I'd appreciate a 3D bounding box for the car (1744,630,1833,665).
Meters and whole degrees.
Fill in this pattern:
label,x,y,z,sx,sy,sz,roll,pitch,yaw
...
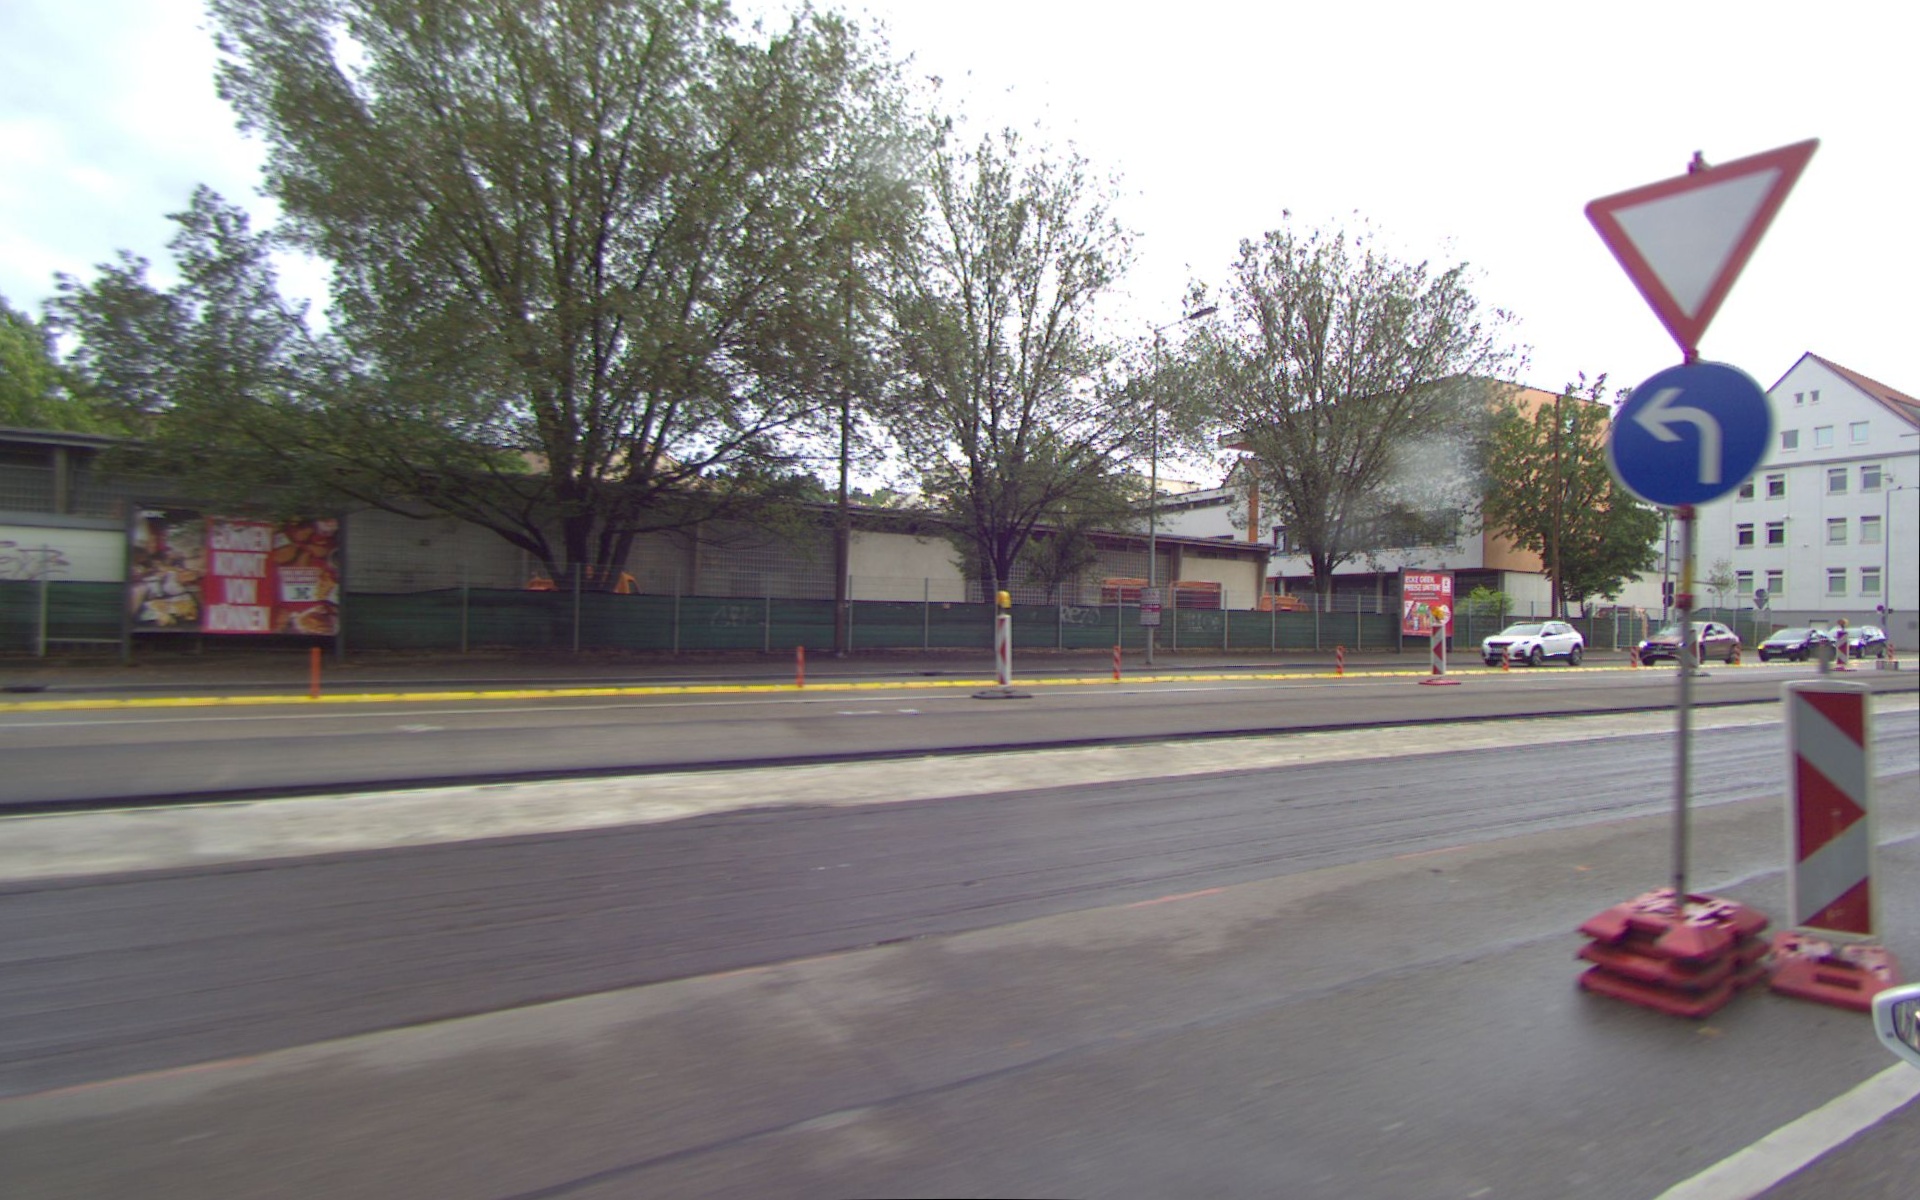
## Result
label,x,y,z,sx,sy,sz,roll,pitch,yaw
car,36.522,2.101,44.260,3.689,1.495,1.850,2,-3,-31

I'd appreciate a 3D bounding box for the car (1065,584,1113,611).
label,x,y,z,sx,sy,sz,roll,pitch,yaw
car,5.640,-0.091,43.551,1.718,1.076,4.026,1,-1,12

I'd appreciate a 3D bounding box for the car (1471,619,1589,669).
label,x,y,z,sx,sy,sz,roll,pitch,yaw
car,20.921,1.623,36.843,4.314,1.728,1.850,2,-3,-31

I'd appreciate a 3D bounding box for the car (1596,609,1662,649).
label,x,y,z,sx,sy,sz,roll,pitch,yaw
car,37.448,1.626,56.178,3.955,2.199,1.601,1,-1,-32

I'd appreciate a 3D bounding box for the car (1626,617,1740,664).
label,x,y,z,sx,sy,sz,roll,pitch,yaw
car,26.767,1.521,37.178,4.314,1.640,1.850,2,-3,-31

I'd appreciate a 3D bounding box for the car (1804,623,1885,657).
label,x,y,z,sx,sy,sz,roll,pitch,yaw
car,45.227,2.068,51.358,4.279,1.651,1.850,2,-3,-31

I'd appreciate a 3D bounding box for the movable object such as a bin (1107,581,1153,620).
label,x,y,z,sx,sy,sz,roll,pitch,yaw
movable object such as a bin,7.346,0.052,43.228,1.718,1.548,4.026,1,-1,12

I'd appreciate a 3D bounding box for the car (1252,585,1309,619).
label,x,y,z,sx,sy,sz,roll,pitch,yaw
car,15.442,0.133,48.603,1.959,1.548,4.026,1,-1,8
